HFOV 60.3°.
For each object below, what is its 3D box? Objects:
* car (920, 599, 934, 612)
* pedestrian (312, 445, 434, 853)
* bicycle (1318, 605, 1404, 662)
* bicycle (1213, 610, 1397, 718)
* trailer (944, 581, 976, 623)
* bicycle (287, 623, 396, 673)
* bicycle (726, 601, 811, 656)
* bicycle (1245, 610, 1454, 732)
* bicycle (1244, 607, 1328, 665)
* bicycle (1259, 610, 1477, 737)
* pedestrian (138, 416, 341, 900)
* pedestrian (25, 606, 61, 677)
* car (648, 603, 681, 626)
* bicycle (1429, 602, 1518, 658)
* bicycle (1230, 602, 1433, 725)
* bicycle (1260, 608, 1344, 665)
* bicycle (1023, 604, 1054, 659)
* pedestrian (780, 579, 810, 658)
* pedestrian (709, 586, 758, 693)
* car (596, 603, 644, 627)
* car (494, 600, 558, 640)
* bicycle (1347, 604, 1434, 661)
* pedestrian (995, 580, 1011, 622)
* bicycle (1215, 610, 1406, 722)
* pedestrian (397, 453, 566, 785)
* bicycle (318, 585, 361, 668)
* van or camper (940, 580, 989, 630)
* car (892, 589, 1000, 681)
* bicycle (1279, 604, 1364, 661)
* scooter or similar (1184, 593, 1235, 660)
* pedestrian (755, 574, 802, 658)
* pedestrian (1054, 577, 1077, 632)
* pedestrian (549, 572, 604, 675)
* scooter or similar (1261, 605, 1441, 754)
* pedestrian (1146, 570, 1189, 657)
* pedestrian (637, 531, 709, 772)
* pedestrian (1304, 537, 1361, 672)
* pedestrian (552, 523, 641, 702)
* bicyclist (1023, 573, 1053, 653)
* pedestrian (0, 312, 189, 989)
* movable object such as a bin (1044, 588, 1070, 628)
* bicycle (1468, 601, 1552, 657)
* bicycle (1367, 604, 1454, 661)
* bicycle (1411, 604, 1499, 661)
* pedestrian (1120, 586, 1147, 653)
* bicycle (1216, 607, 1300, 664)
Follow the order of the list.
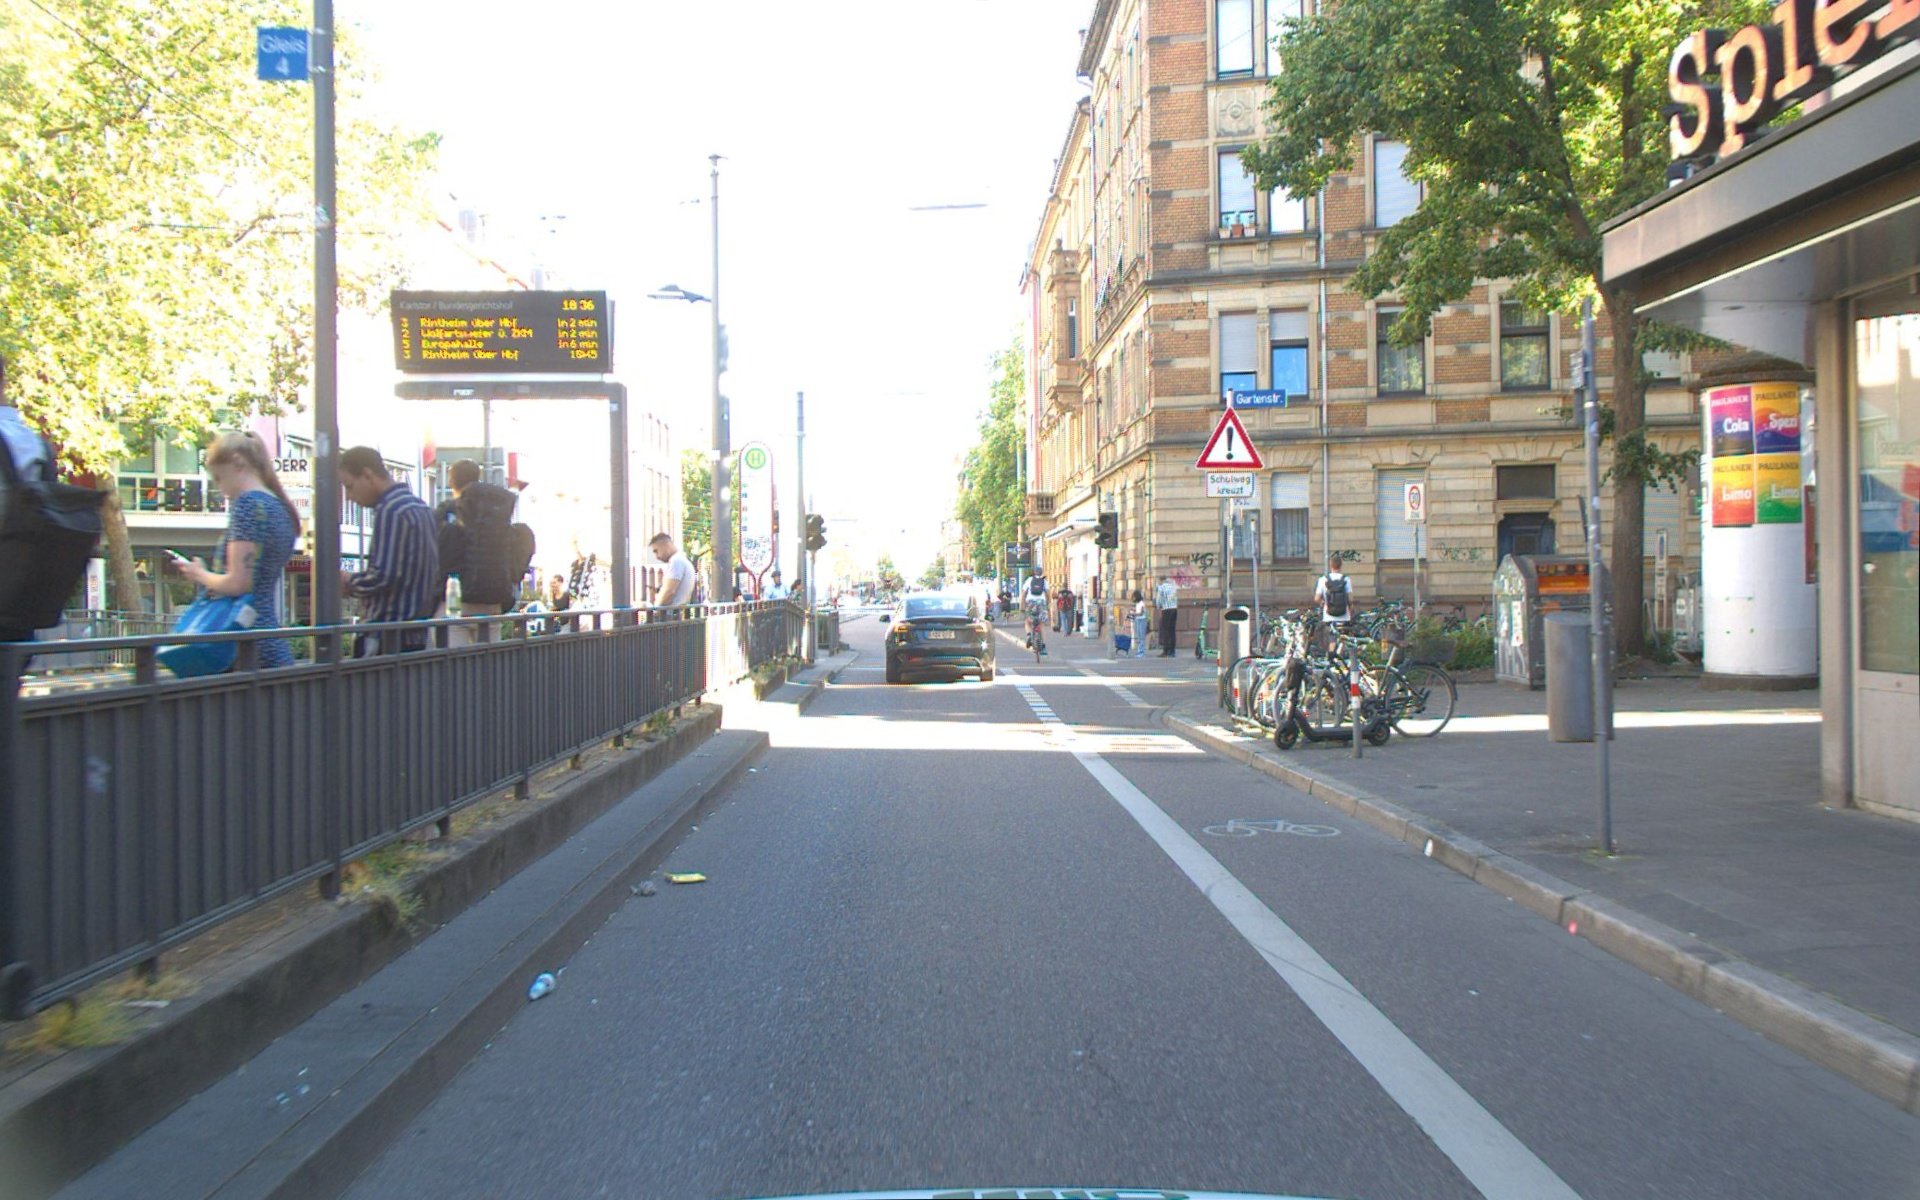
[{"bbox_3d":[-3.850,0.698,192.648,1.561,1.458,3.685,-1,0,-1],"label":"car"},{"bbox_3d":[-2.528,0.201,7.152,0.344,1.698,0.529,-1,0,-3],"label":"pedestrian"},{"bbox_3d":[8.246,0.687,34.052,0.440,1.134,1.787,-1,0,-42],"label":"bicycle"},{"bbox_3d":[3.811,0.696,18.342,1.907,1.126,0.564,-1,0,-4],"label":"bicycle"},{"bbox_3d":[-0.004,0.121,88.696,1.627,2.154,3.842,1,0,0],"label":"trailer"},{"bbox_3d":[-13.077,0.998,35.033,0.635,0.983,2.160,-1,0,37],"label":"bicycle"},{"bbox_3d":[-4.281,0.630,36.976,1.904,1.113,0.597,2,0,32],"label":"bicycle"},{"bbox_3d":[3.823,0.687,16.276,1.907,1.126,0.564,-1,0,-4],"label":"bicycle"},{"bbox_3d":[6.631,0.723,33.698,0.440,1.134,1.787,-1,0,-41],"label":"bicycle"},{"bbox_3d":[3.851,0.682,15.663,1.907,1.126,0.564,-1,0,-4],"label":"bicycle"},{"bbox_3d":[-2.613,0.198,6.038,0.483,1.677,0.589,-1,0,-3],"label":"pedestrian"},{"bbox_3d":[-21.757,0.980,39.236,0.683,1.665,0.668,-1,0,-35],"label":"pedestrian"},{"bbox_3d":[-19.574,0.956,109.600,1.625,1.447,3.619,1,0,-2],"label":"car"},{"bbox_3d":[10.659,0.611,34.398,0.440,1.134,1.787,-1,0,-42],"label":"bicycle"},{"bbox_3d":[3.787,0.640,16.930,1.907,1.186,0.627,-1,0,-4],"label":"bicycle"},{"bbox_3d":[7.010,0.730,33.974,0.440,1.134,1.787,-1,0,-42],"label":"bicycle"},{"bbox_3d":[1.667,0.656,35.431,0.634,1.159,2.096,0,0,2],"label":"bicycle"},{"bbox_3d":[-3.472,0.380,34.714,0.508,1.618,0.665,3,0,-11],"label":"pedestrian"},{"bbox_3d":[-2.891,0.503,21.115,0.470,1.352,0.354,-1,0,28],"label":"pedestrian"},{"bbox_3d":[-19.380,0.839,94.484,1.921,1.348,4.818,1,0,-3],"label":"car"},{"bbox_3d":[-18.619,0.829,71.071,1.879,1.642,4.366,-1,0,-4],"label":"car"},{"bbox_3d":[8.878,0.656,34.160,0.440,1.134,1.787,-1,0,-42],"label":"bicycle"},{"bbox_3d":[1.924,0.062,73.664,0.659,1.846,0.755,-1,-1,-3],"label":"pedestrian"},{"bbox_3d":[3.739,0.696,17.689,1.907,1.126,0.564,-1,0,-4],"label":"bicycle"},{"bbox_3d":[-2.855,0.113,9.846,0.762,1.863,0.795,1,-1,-32],"label":"pedestrian"},{"bbox_3d":[-13.134,0.554,35.009,0.635,1.746,0.581,-1,0,38],"label":"bicycle"},{"bbox_3d":[0.160,0.235,71.288,1.892,2.072,5.473,1,-1,-2],"label":"van or camper"},{"bbox_3d":[-0.296,0.546,27.901,1.685,1.430,3.708,1,0,-2],"label":"car"},{"bbox_3d":[7.464,0.668,34.186,0.440,1.134,1.787,-1,0,-42],"label":"bicycle"},{"bbox_3d":[5.004,0.522,33.206,0.384,1.312,1.515,-1,0,-17],"label":"scooter or similar"},{"bbox_3d":[-4.042,0.349,36.827,0.582,1.853,0.940,1,0,31],"label":"pedestrian"},{"bbox_3d":[3.398,0.153,53.282,0.461,1.758,0.586,-1,1,34],"label":"pedestrian"},{"bbox_3d":[-6.503,0.387,28.099,0.682,1.697,1.033,-1,0,-1],"label":"pedestrian"},{"bbox_3d":[3.531,0.705,14.997,1.449,1.250,0.591,-3,0,-1],"label":"scooter or similar"},{"bbox_3d":[4.461,0.284,35.619,0.829,1.839,0.876,-1,1,3],"label":"pedestrian"},{"bbox_3d":[-2.636,0.461,15.245,0.527,2.157,0.807,-1,0,-2],"label":"pedestrian"},{"bbox_3d":[5.674,0.076,25.147,0.701,2.019,0.943,0,-1,22],"label":"pedestrian"},{"bbox_3d":[-3.656,0.125,16.672,0.747,1.765,0.589,-1,0,-2],"label":"pedestrian"},{"bbox_3d":[1.670,0.272,35.545,0.641,1.685,0.927,0,0,2],"label":"bicyclist"},{"bbox_3d":[-2.711,0.133,4.721,0.676,1.782,0.747,-1,0,-3],"label":"pedestrian"},{"bbox_3d":[3.390,0.281,57.974,0.760,1.371,1.298,-1,0,-3],"label":"movable object such as a bin"},{"bbox_3d":[11.546,0.596,34.755,0.439,1.134,1.794,-1,0,-33],"label":"bicycle"},{"bbox_3d":[9.358,0.667,34.399,0.440,1.134,1.787,-1,0,-42],"label":"bicycle"},{"bbox_3d":[10.218,0.658,34.183,0.440,1.134,1.787,-1,0,-42],"label":"bicycle"},{"bbox_3d":[3.773,0.416,36.016,0.562,1.439,0.581,1,0,6],"label":"pedestrian"},{"bbox_3d":[6.049,0.712,33.634,0.440,1.134,1.787,-1,0,-41],"label":"bicycle"}]
